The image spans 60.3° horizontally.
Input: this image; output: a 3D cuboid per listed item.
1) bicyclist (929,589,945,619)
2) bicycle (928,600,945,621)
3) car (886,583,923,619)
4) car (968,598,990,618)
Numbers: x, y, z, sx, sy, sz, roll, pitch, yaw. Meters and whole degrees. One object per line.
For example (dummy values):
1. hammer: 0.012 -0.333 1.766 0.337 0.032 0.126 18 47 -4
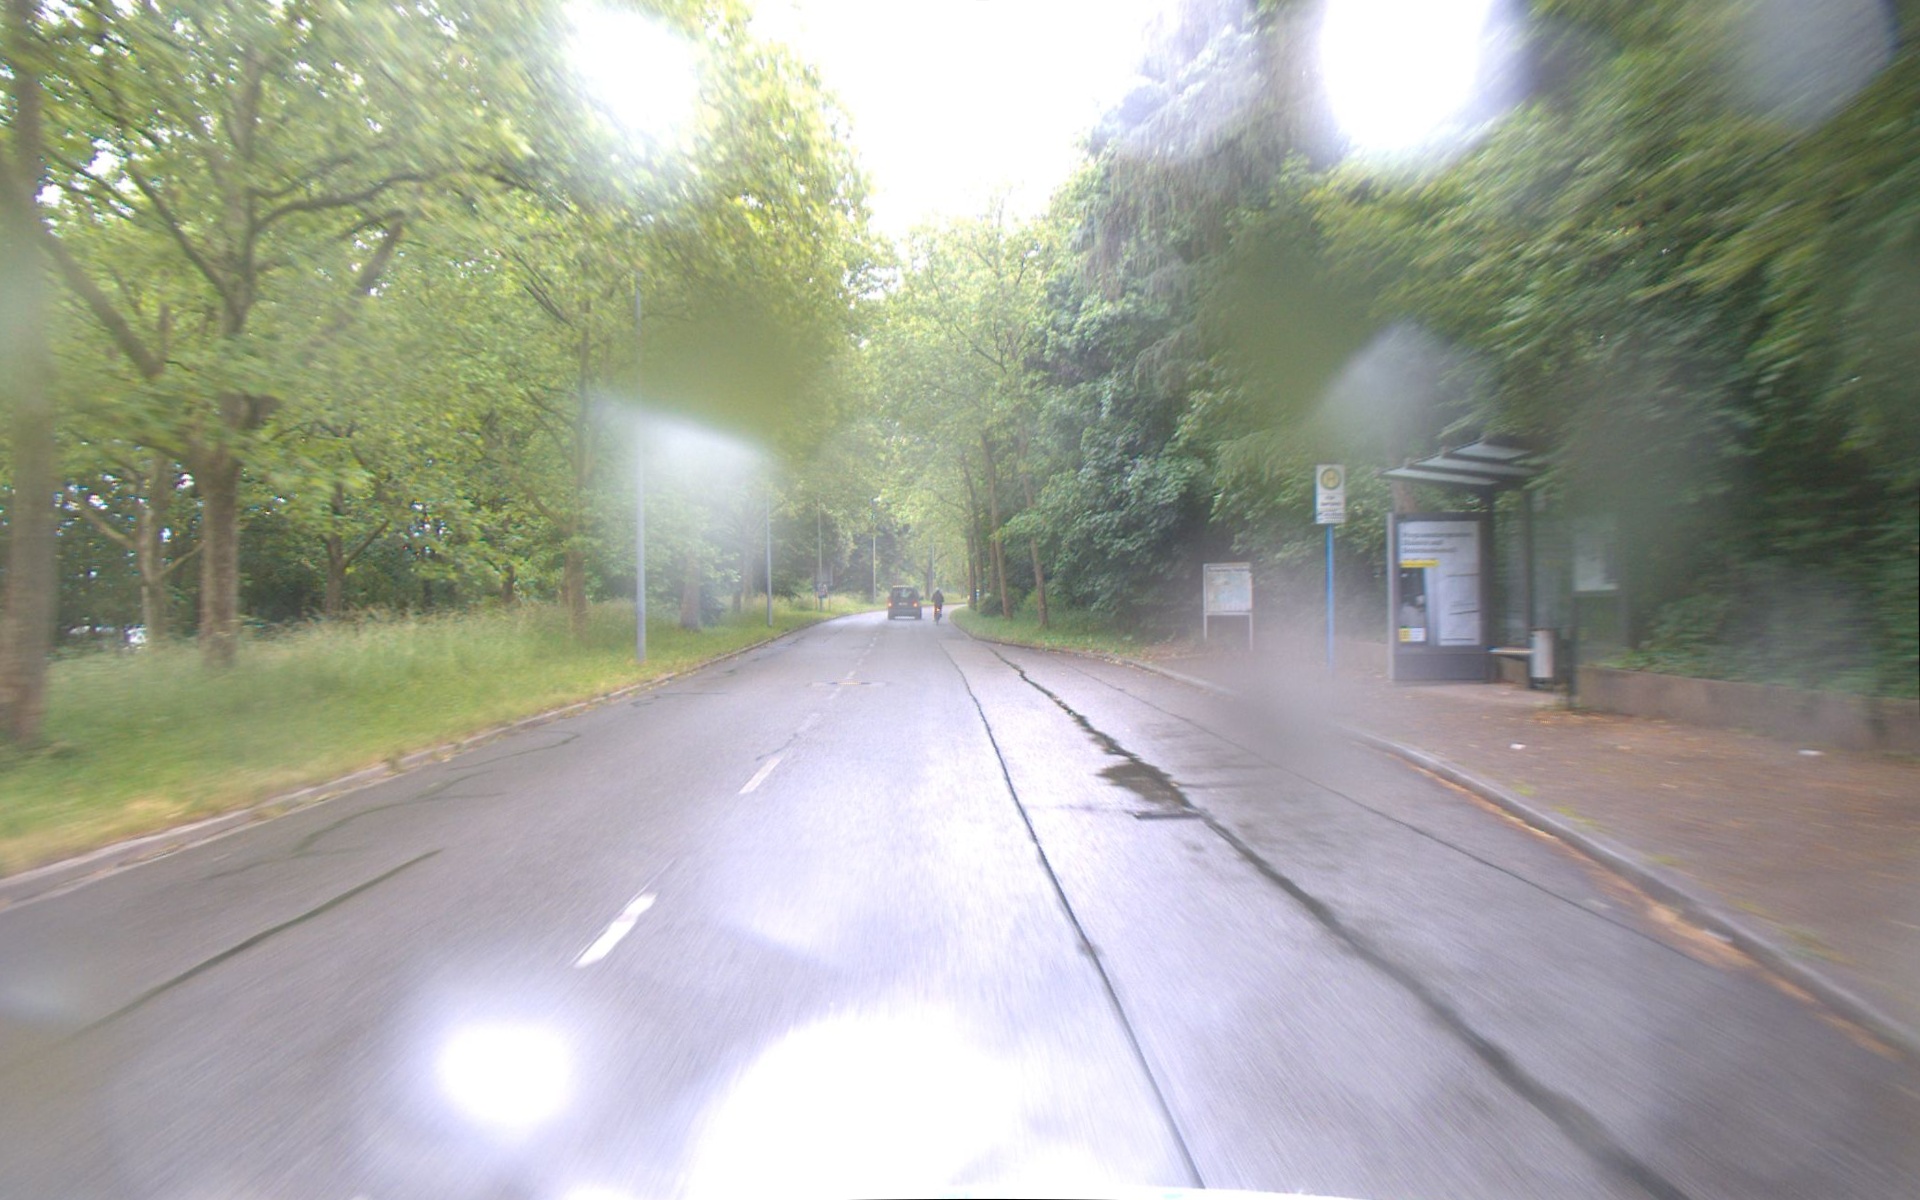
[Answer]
1. bicyclist: -1.132 0.195 80.338 0.714 1.435 0.973 1 0 1
2. bicycle: -1.139 0.501 80.279 0.714 0.991 2.173 1 0 1
3. car: -3.112 0.047 92.308 1.946 1.959 3.997 0 0 -4
4. car: 1.874 0.796 163.707 1.953 1.847 3.998 1 -1 -2
